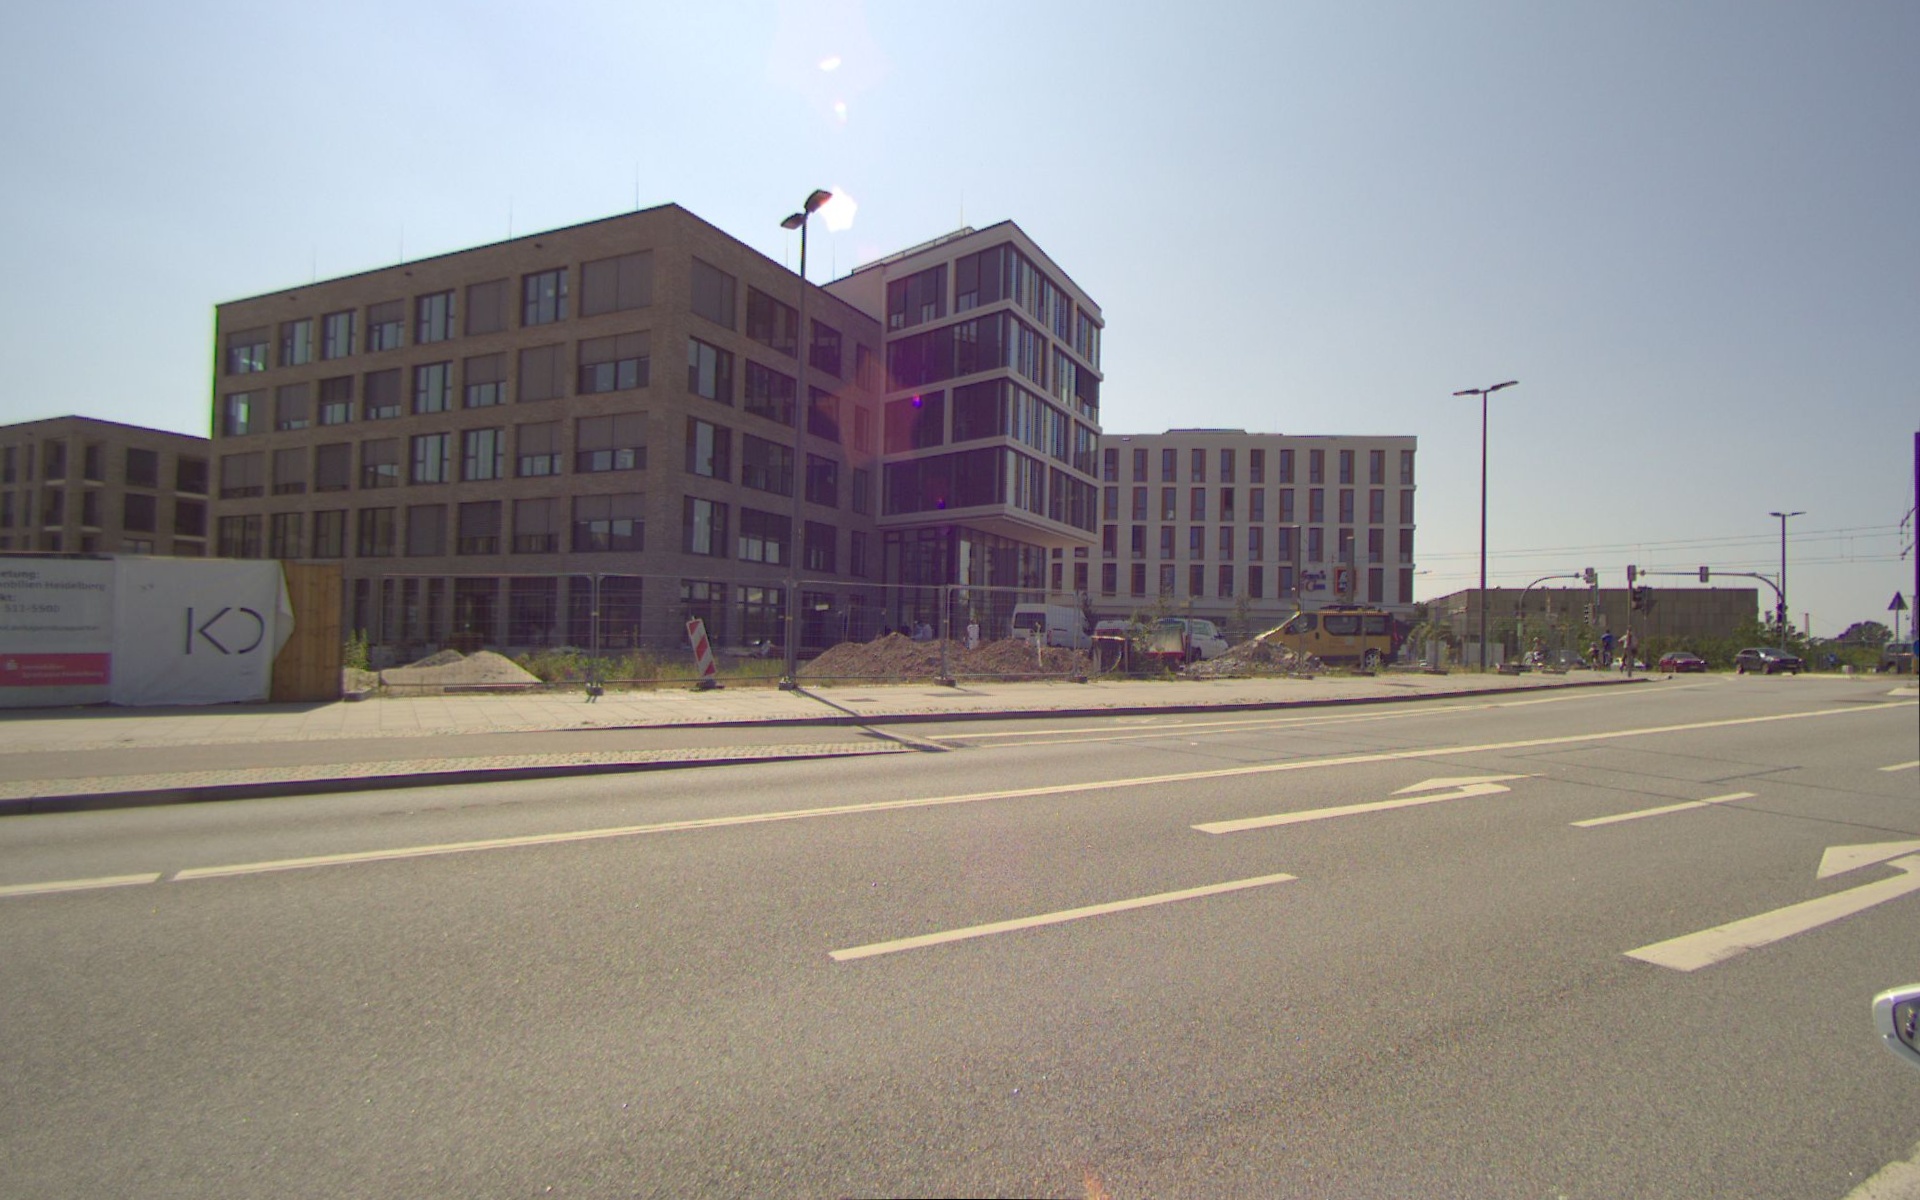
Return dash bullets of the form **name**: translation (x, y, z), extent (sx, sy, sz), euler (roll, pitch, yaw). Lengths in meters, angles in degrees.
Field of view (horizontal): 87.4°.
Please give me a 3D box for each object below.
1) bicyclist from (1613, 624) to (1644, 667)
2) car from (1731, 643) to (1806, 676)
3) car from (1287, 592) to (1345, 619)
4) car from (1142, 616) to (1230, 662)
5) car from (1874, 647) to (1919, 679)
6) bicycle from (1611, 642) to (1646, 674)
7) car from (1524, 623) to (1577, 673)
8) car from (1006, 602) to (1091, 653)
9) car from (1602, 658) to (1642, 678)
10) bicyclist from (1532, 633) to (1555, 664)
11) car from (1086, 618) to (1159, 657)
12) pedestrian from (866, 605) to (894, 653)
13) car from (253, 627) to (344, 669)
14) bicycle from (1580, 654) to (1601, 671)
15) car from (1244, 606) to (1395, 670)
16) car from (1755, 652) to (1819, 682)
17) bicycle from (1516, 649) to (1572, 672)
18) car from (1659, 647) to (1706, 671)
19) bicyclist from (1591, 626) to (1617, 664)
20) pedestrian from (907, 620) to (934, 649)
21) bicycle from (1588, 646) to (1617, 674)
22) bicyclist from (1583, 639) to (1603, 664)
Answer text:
- **bicyclist**: translation (25.840, 1.749, 38.825), extent (0.807, 1.589, 0.948), euler (2, 0, 24)
- **car**: translation (49.056, 3.574, 61.059), extent (1.683, 1.764, 4.215), euler (2, 0, 10)
- **car**: translation (29.055, 0.437, 81.954), extent (1.986, 2.040, 3.949), euler (2, 0, -43)
- **car**: translation (9.555, 1.616, 42.148), extent (1.969, 1.730, 4.546), euler (2, 0, 35)
- **car**: translation (48.964, 3.252, 50.262), extent (1.964, 1.475, 4.477), euler (2, 0, -10)
- **bicycle**: translation (25.857, 2.235, 38.874), extent (0.664, 1.142, 2.364), euler (2, 0, 24)
- **car**: translation (26.305, 2.088, 44.862), extent (1.644, 2.040, 3.996), euler (2, 0, 26)
- **car**: translation (3.998, 1.223, 44.682), extent (2.175, 2.083, 4.164), euler (2, 0, 30)
- **car**: translation (54.547, 5.573, 82.825), extent (1.736, 1.350, 3.715), euler (2, 0, 18)
- **bicyclist**: translation (29.575, 2.445, 50.933), extent (0.833, 1.522, 0.654), euler (2, 0, -29)
- **car**: translation (7.120, 1.600, 43.721), extent (1.773, 1.528, 3.991), euler (2, 0, 31)
- **pedestrian**: translation (-3.448, 1.240, 43.345), extent (0.949, 2.040, 0.940), euler (2, 0, -17)
- **car**: translation (-30.443, 2.167, 46.208), extent (3.708, 1.675, 1.834), euler (2, 0, 26)
- **bicycle**: translation (29.985, 2.961, 47.787), extent (0.506, 0.701, 2.252), euler (1, -1, 24)
- **car**: translation (11.992, 1.246, 33.763), extent (4.395, 1.915, 2.001), euler (2, 0, 8)
- **car**: translation (61.904, 4.990, 75.302), extent (1.959, 2.040, 4.003), euler (1, -1, 10)
- **bicycle**: translation (29.623, 3.071, 50.960), extent (0.598, 1.020, 2.494), euler (4, -2, -28)
- **car**: translation (51.873, 4.220, 72.163), extent (1.651, 1.475, 4.000), euler (2, 0, 20)
- **bicyclist**: translation (28.168, 1.950, 43.945), extent (0.847, 1.580, 0.824), euler (2, 0, 26)
- **pedestrian**: translation (-1.943, 1.700, 49.408), extent (1.099, 1.391, 0.742), euler (2, 0, -17)
- **bicycle**: translation (28.112, 2.596, 43.982), extent (0.715, 1.148, 2.530), euler (-5, -4, 26)
- **bicyclist**: translation (30.088, 2.454, 47.758), extent (0.716, 1.190, 0.659), euler (0, -2, 22)
